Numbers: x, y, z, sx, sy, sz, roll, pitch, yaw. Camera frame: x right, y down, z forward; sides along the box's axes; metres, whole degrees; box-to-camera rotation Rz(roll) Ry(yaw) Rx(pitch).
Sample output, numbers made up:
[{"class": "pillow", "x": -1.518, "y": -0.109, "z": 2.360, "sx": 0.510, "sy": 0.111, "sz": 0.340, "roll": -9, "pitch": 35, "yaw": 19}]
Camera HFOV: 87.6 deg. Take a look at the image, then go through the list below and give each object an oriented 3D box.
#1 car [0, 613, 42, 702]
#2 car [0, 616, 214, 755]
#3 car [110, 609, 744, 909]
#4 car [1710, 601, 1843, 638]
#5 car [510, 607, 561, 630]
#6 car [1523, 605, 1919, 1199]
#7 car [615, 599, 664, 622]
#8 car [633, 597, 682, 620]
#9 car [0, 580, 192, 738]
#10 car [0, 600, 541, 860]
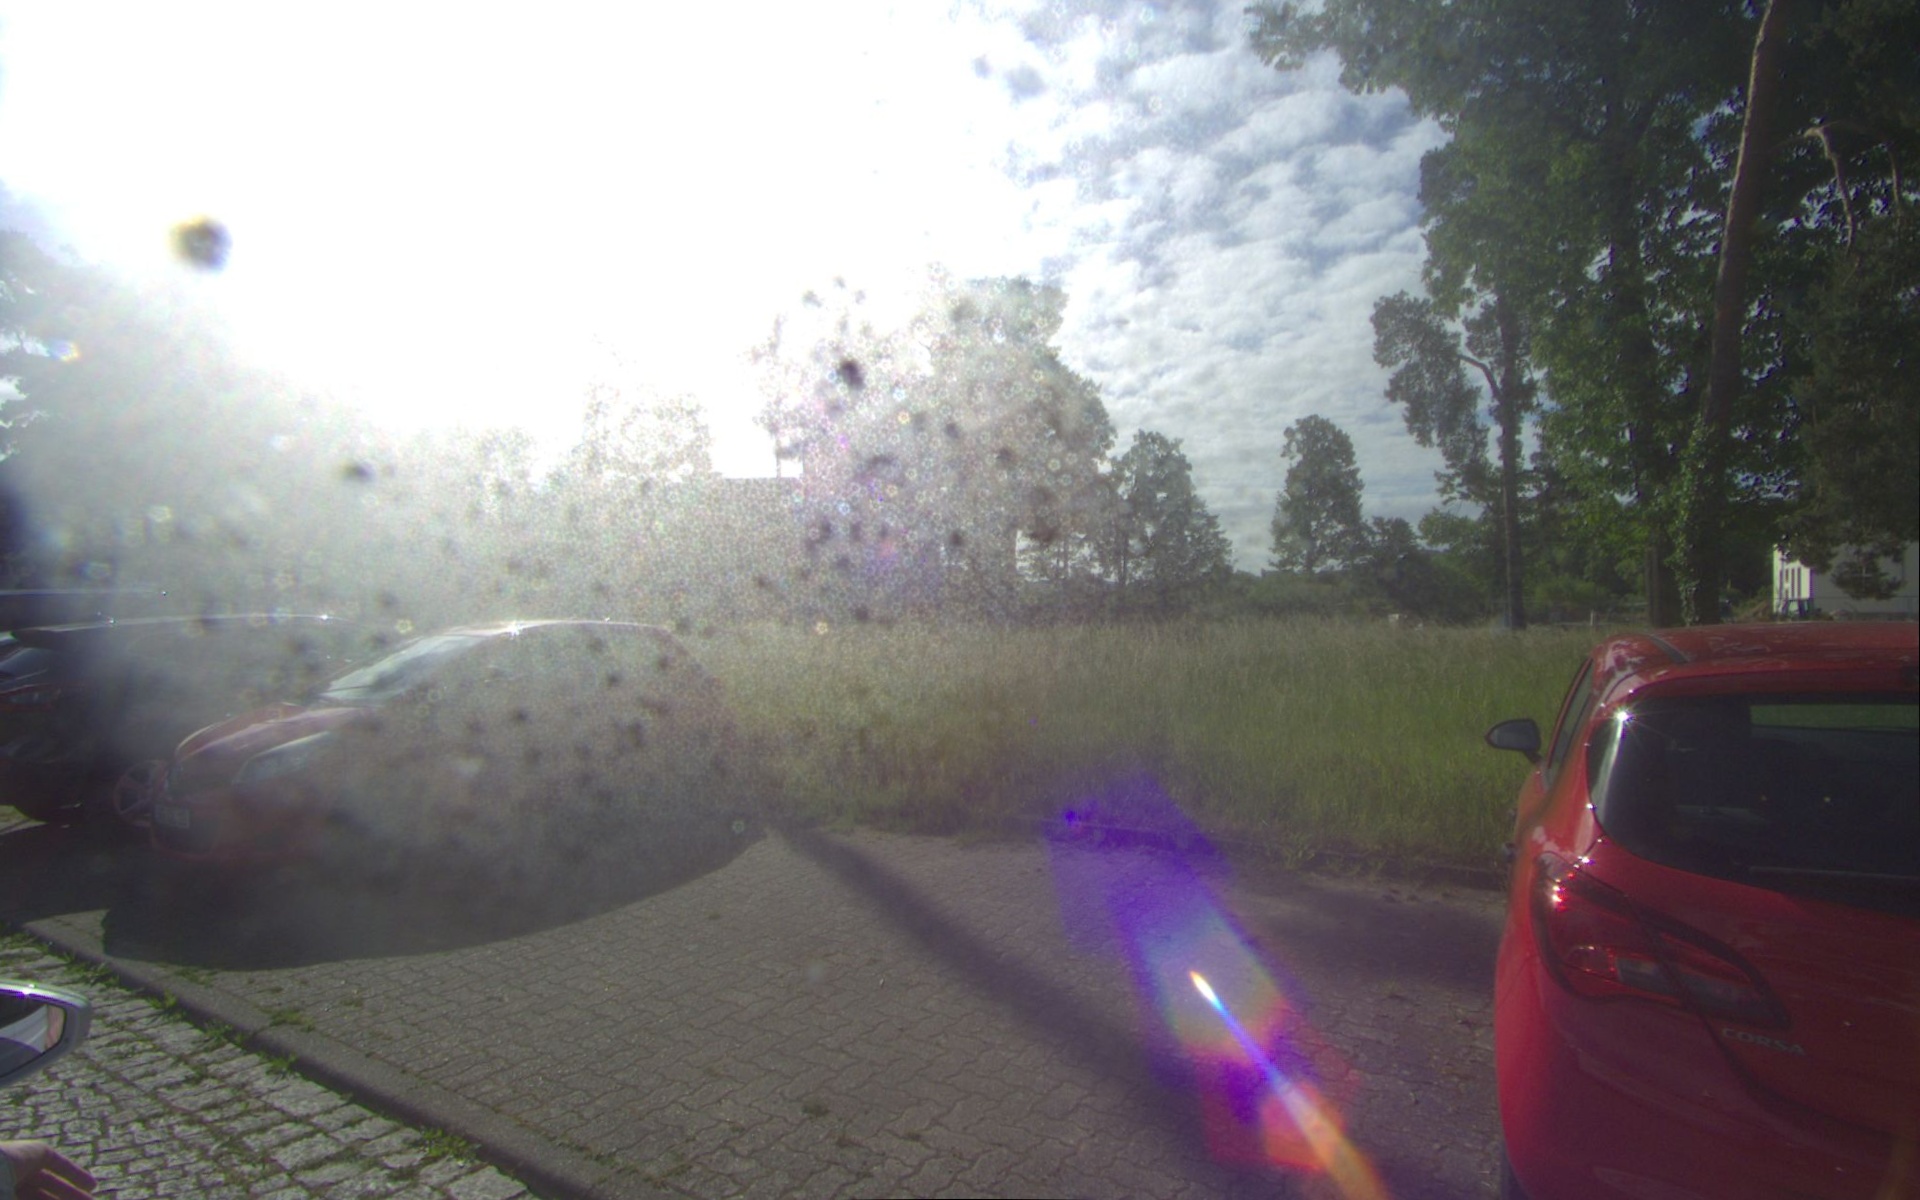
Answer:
[{"class": "car", "x": -17.569, "y": 1.023, "z": 16.198, "sx": 1.622, "sy": 1.485, "sz": 3.684, "roll": 0, "pitch": 1, "yaw": 33}, {"class": "car", "x": -11.245, "y": 0.973, "z": 11.708, "sx": 1.621, "sy": 1.508, "sz": 3.713, "roll": 0, "pitch": 0, "yaw": 30}, {"class": "car", "x": -3.481, "y": 0.848, "z": 7.232, "sx": 1.622, "sy": 1.550, "sz": 3.755, "roll": 0, "pitch": 0, "yaw": 32}, {"class": "car", "x": 50.218, "y": 1.244, "z": 61.721, "sx": 2.345, "sy": 2.199, "sz": 5.976, "roll": 0, "pitch": -2, "yaw": -35}, {"class": "car", "x": -39.669, "y": 1.714, "z": 93.700, "sx": 1.971, "sy": 2.040, "sz": 3.979, "roll": 0, "pitch": 0, "yaw": 32}, {"class": "car", "x": 2.781, "y": 0.792, "z": 3.136, "sx": 1.622, "sy": 1.498, "sz": 3.819, "roll": 0, "pitch": 0, "yaw": 32}, {"class": "car", "x": -29.544, "y": 0.957, "z": 92.266, "sx": 1.971, "sy": 2.040, "sz": 3.979, "roll": 0, "pitch": 0, "yaw": 32}, {"class": "car", "x": -27.480, "y": 0.755, "z": 91.170, "sx": 1.971, "sy": 2.040, "sz": 3.979, "roll": 0, "pitch": 0, "yaw": 32}, {"class": "car", "x": -13.379, "y": 0.765, "z": 13.274, "sx": 2.052, "sy": 2.040, "sz": 4.671, "roll": 0, "pitch": 0, "yaw": 29}, {"class": "car", "x": -5.810, "y": 0.842, "z": 8.466, "sx": 1.746, "sy": 1.643, "sz": 3.929, "roll": 0, "pitch": 0, "yaw": 31}]
